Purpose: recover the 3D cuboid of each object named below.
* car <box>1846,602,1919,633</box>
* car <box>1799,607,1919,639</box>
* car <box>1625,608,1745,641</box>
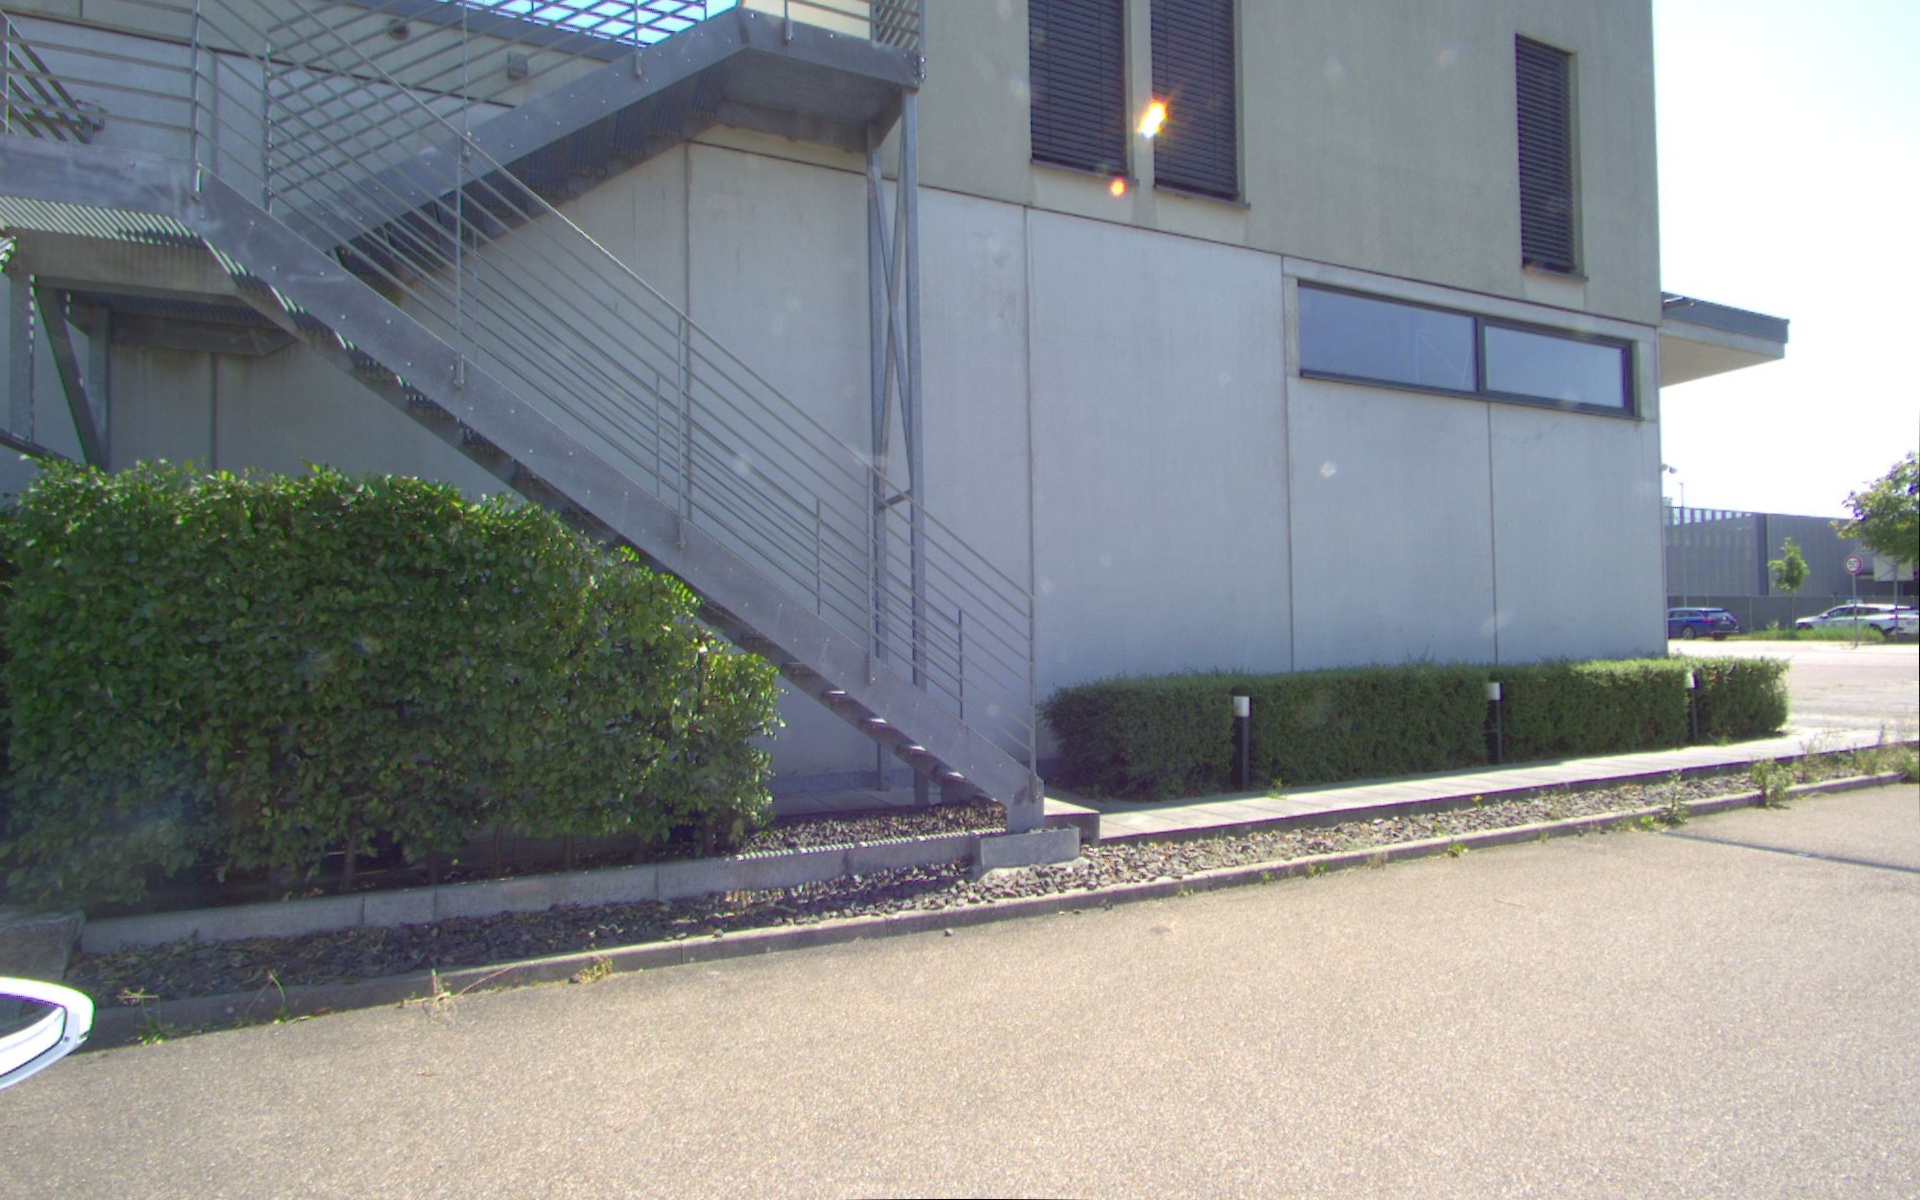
[{"bbox_3d":[45.026,0.859,47.677,1.717,1.433,4.064,1,-2,-11],"label":"car"},{"bbox_3d":[42.323,1.097,46.997,1.717,1.433,4.446,1,-2,-11],"label":"car"},{"bbox_3d":[32.763,1.128,45.412,1.717,1.433,4.446,1,-2,-10],"label":"car"}]
